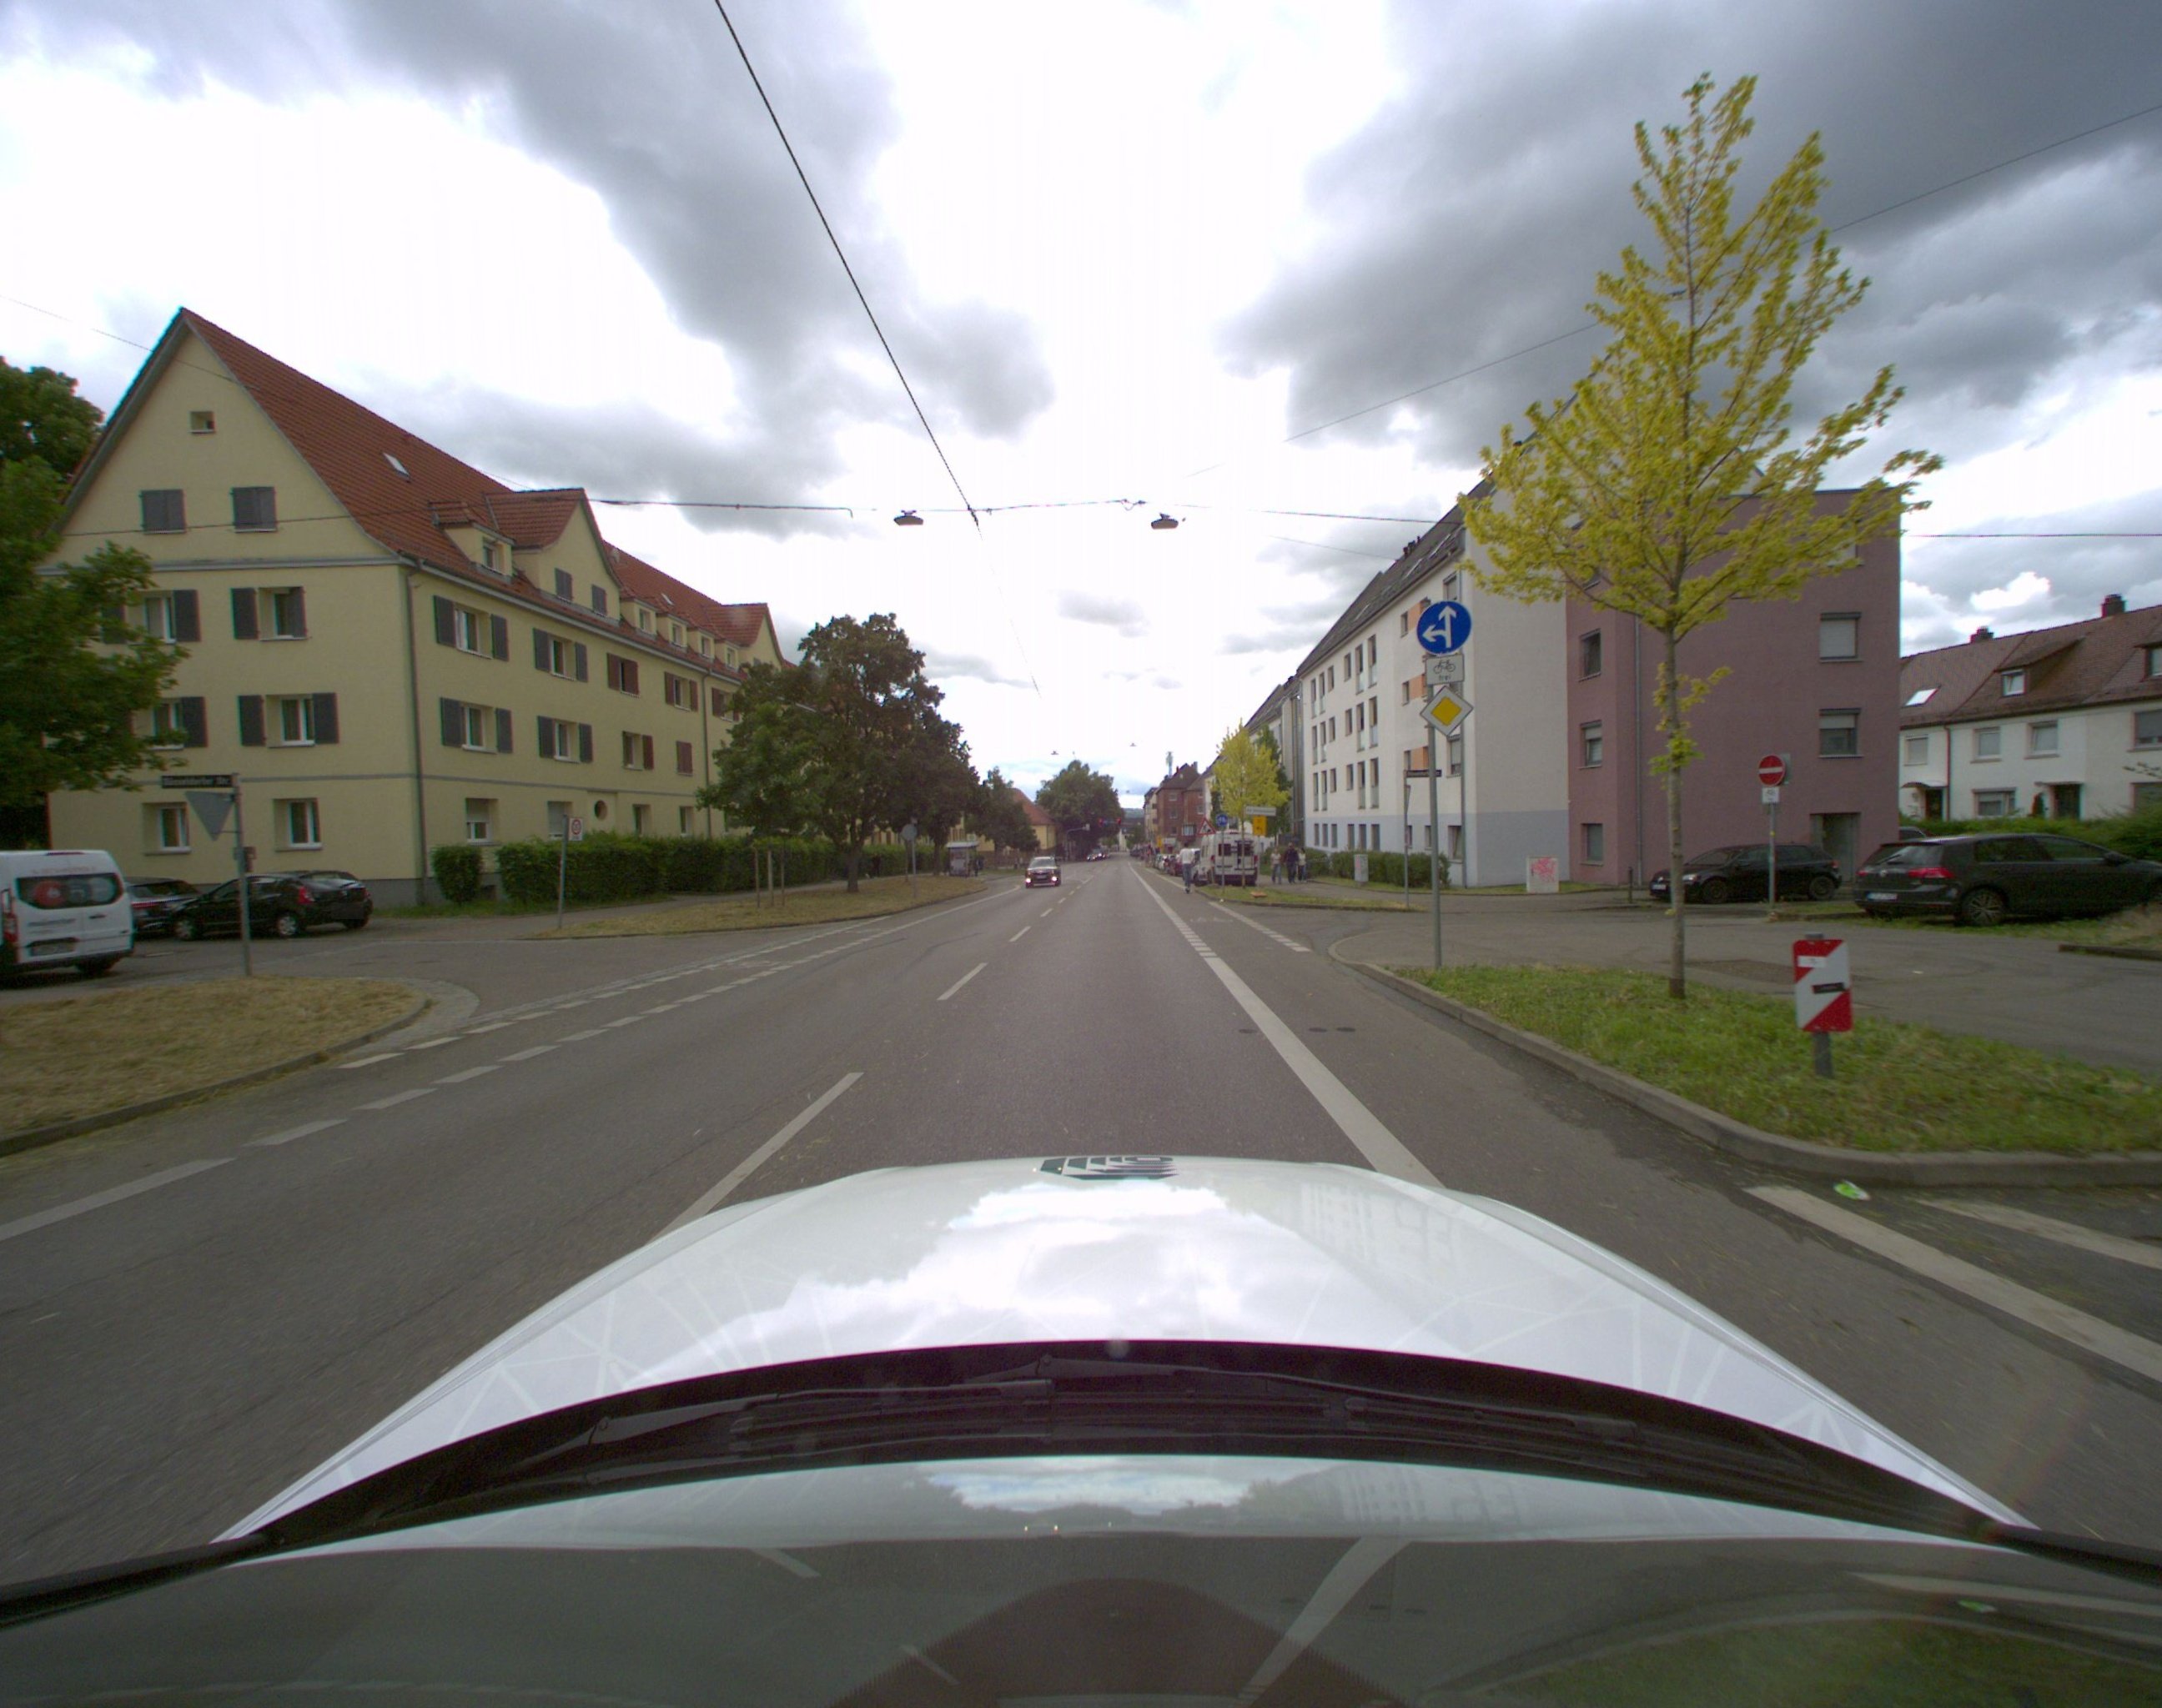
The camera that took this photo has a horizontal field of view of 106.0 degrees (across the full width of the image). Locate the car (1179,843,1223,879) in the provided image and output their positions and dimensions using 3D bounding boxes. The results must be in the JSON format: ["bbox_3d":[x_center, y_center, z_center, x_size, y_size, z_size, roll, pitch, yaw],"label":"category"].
[{"bbox_3d":[6.971,0.372,47.699,1.986,1.944,5.214,-1,0,2],"label":"car"}]

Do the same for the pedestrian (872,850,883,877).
[{"bbox_3d":[-13.338,0.607,53.370,0.511,1.779,0.753,-1,0,2],"label":"pedestrian"}]

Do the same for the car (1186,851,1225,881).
[{"bbox_3d":[6.422,0.603,42.342,1.519,1.486,3.727,0,0,1],"label":"car"}]

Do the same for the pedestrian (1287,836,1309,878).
[{"bbox_3d":[10.024,0.152,37.627,0.671,1.887,0.617,-2,-2,-15],"label":"pedestrian"}]

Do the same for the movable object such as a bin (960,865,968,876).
[{"bbox_3d":[-9.345,1.314,64.936,0.462,0.826,0.665,0,0,4],"label":"movable object such as a bin"}]

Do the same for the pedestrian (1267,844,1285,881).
[{"bbox_3d":[8.931,0.400,37.283,0.577,1.644,0.559,-2,-2,-12],"label":"pedestrian"}]

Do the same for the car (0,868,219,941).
[{"bbox_3d":[-23.698,1.190,19.824,3.636,1.529,1.622,-1,3,2],"label":"car"}]

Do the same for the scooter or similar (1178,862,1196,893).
[{"bbox_3d":[4.210,0.895,32.341,0.488,1.163,2.076,-1,0,2],"label":"scooter or similar"}]

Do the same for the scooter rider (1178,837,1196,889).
[{"bbox_3d":[4.199,0.351,32.316,0.623,2.013,0.758,-1,0,2],"label":"scooter rider"}]

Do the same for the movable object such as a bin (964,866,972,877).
[{"bbox_3d":[-9.236,1.428,66.344,0.534,0.845,0.665,0,0,3],"label":"movable object such as a bin"}]

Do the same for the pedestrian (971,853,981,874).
[{"bbox_3d":[-8.846,0.789,68.703,0.594,1.727,0.862,-1,-1,5],"label":"pedestrian"}]

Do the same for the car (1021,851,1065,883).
[{"bbox_3d":[-2.025,0.677,44.677,1.891,1.620,4.365,-1,0,3],"label":"car"}]

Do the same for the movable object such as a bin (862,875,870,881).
[{"bbox_3d":[-14.143,1.582,53.679,0.304,0.347,0.582,-1,0,8],"label":"movable object such as a bin"}]

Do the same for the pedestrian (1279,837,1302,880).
[{"bbox_3d":[9.351,0.215,36.371,0.670,1.887,0.763,-2,-2,-10],"label":"pedestrian"}]

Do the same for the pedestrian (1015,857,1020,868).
[{"bbox_3d":[-9.084,1.157,116.078,0.560,1.566,0.844,-1,0,8],"label":"pedestrian"}]

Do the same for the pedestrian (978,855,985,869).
[{"bbox_3d":[-11.596,0.920,94.790,0.638,1.619,0.618,-1,0,1],"label":"pedestrian"}]

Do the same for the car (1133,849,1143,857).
[{"bbox_3d":[14.287,-0.204,204.182,1.987,1.936,4.918,-1,0,0],"label":"car"}]

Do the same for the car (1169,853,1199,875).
[{"bbox_3d":[7.420,0.688,59.018,1.674,1.544,4.340,-1,0,1],"label":"car"}]

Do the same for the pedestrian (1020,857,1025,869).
[{"bbox_3d":[-8.718,1.344,121.809,0.561,1.777,0.717,-1,0,2],"label":"pedestrian"}]

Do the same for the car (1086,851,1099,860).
[{"bbox_3d":[2.071,0.279,146.258,1.747,1.472,4.313,-3,0,6],"label":"car"}]

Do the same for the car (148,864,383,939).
[{"bbox_3d":[-19.532,1.109,19.630,3.889,1.529,1.692,-1,3,2],"label":"car"}]

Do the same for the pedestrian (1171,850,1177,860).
[{"bbox_3d":[15.649,0.183,137.088,0.785,1.656,0.773,-4,0,3],"label":"pedestrian"}]

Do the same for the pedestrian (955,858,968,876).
[{"bbox_3d":[-9.504,1.020,64.929,0.895,1.474,0.807,0,0,3],"label":"pedestrian"}]

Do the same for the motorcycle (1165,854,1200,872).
[{"bbox_3d":[7.733,0.678,62.128,2.590,1.279,0.752,-1,0,-2],"label":"motorcycle"}]

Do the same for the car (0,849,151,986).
[{"bbox_3d":[-19.974,1.122,14.473,4.698,2.253,1.996,-2,-1,3],"label":"car"}]

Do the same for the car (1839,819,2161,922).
[{"bbox_3d":[15.141,0.264,13.228,3.971,1.453,1.689,-2,-2,2],"label":"car"}]

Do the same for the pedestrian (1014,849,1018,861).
[{"bbox_3d":[-9.700,0.111,121.832,0.561,1.777,0.843,-1,0,2],"label":"pedestrian"}]

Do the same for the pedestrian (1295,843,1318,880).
[{"bbox_3d":[10.114,0.326,36.520,0.656,1.605,0.574,-6,0,-7],"label":"pedestrian"}]

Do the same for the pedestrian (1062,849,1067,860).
[{"bbox_3d":[-2.922,0.082,143.963,0.670,1.765,0.727,-1,-1,8],"label":"pedestrian"}]

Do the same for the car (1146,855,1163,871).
[{"bbox_3d":[8.176,1.007,90.870,1.653,1.716,4.553,0,0,1],"label":"car"}]

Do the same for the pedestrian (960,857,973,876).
[{"bbox_3d":[-9.373,1.001,66.582,0.895,1.509,0.807,0,0,3],"label":"pedestrian"}]

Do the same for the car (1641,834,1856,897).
[{"bbox_3d":[16.945,0.290,20.846,3.969,1.456,1.762,-1,0,4],"label":"car"}]

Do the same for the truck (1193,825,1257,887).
[{"bbox_3d":[6.480,0.074,37.279,2.045,2.565,5.692,-1,0,2],"label":"truck"}]
